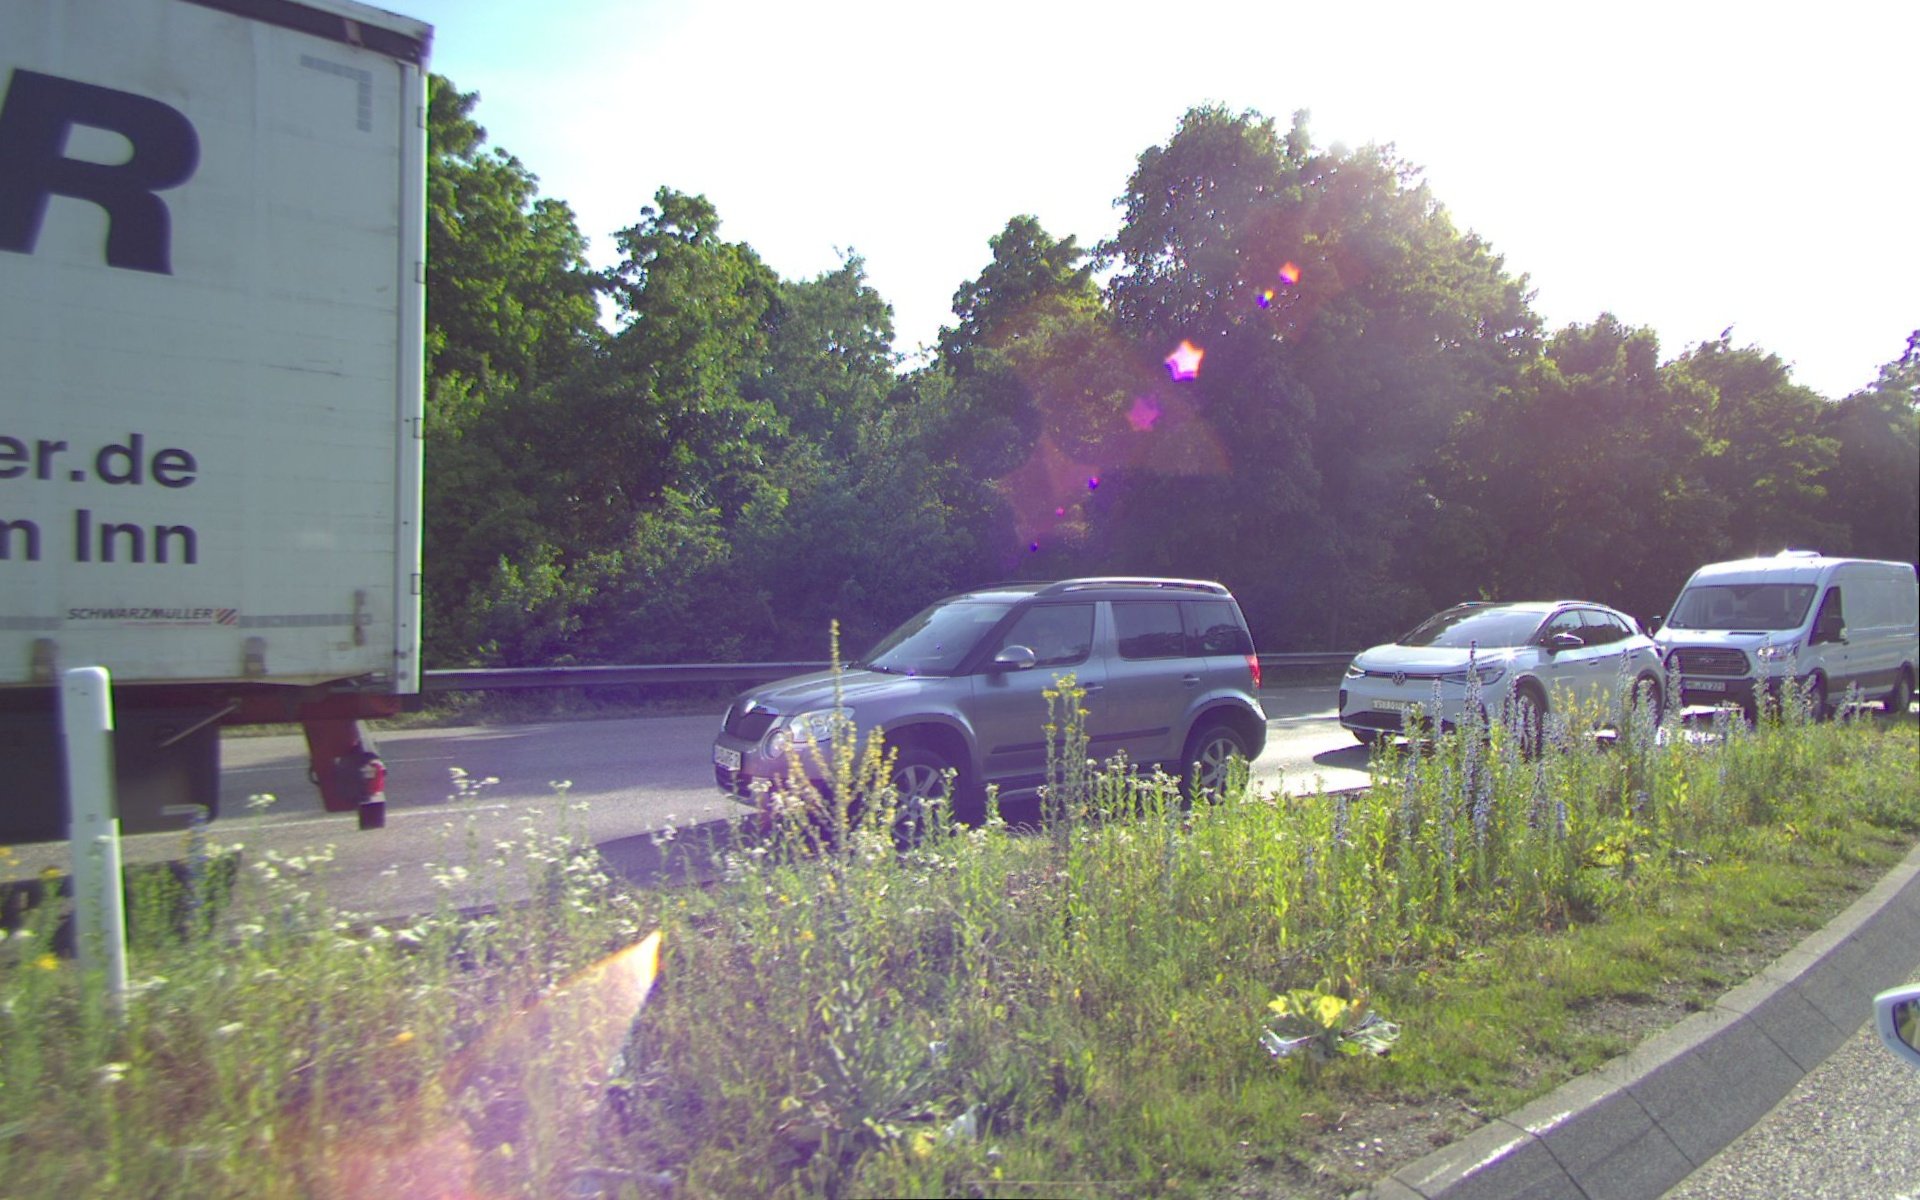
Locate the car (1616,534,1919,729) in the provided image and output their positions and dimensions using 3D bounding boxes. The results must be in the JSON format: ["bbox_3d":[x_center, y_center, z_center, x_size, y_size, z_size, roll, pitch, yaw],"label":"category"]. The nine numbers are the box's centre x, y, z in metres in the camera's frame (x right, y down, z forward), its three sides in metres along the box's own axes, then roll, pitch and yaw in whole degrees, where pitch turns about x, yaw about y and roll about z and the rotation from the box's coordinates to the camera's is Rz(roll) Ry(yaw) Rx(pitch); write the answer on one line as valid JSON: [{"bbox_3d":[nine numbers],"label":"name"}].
[{"bbox_3d":[12.930,0.467,15.792,6.096,2.567,2.063,1,-1,-33],"label":"car"}]

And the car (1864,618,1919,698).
[{"bbox_3d":[19.989,1.099,19.936,5.129,1.476,1.750,1,-1,-33],"label":"car"}]

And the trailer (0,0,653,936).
[{"bbox_3d":[-8.100,-0.885,2.322,13.866,4.050,2.973,1,1,-34],"label":"trailer"}]

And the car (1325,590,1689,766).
[{"bbox_3d":[6.357,0.772,11.473,4.698,1.653,1.690,1,-1,-34],"label":"car"}]

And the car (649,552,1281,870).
[{"bbox_3d":[0.194,0.615,7.148,4.325,1.653,1.690,1,-1,-34],"label":"car"}]
